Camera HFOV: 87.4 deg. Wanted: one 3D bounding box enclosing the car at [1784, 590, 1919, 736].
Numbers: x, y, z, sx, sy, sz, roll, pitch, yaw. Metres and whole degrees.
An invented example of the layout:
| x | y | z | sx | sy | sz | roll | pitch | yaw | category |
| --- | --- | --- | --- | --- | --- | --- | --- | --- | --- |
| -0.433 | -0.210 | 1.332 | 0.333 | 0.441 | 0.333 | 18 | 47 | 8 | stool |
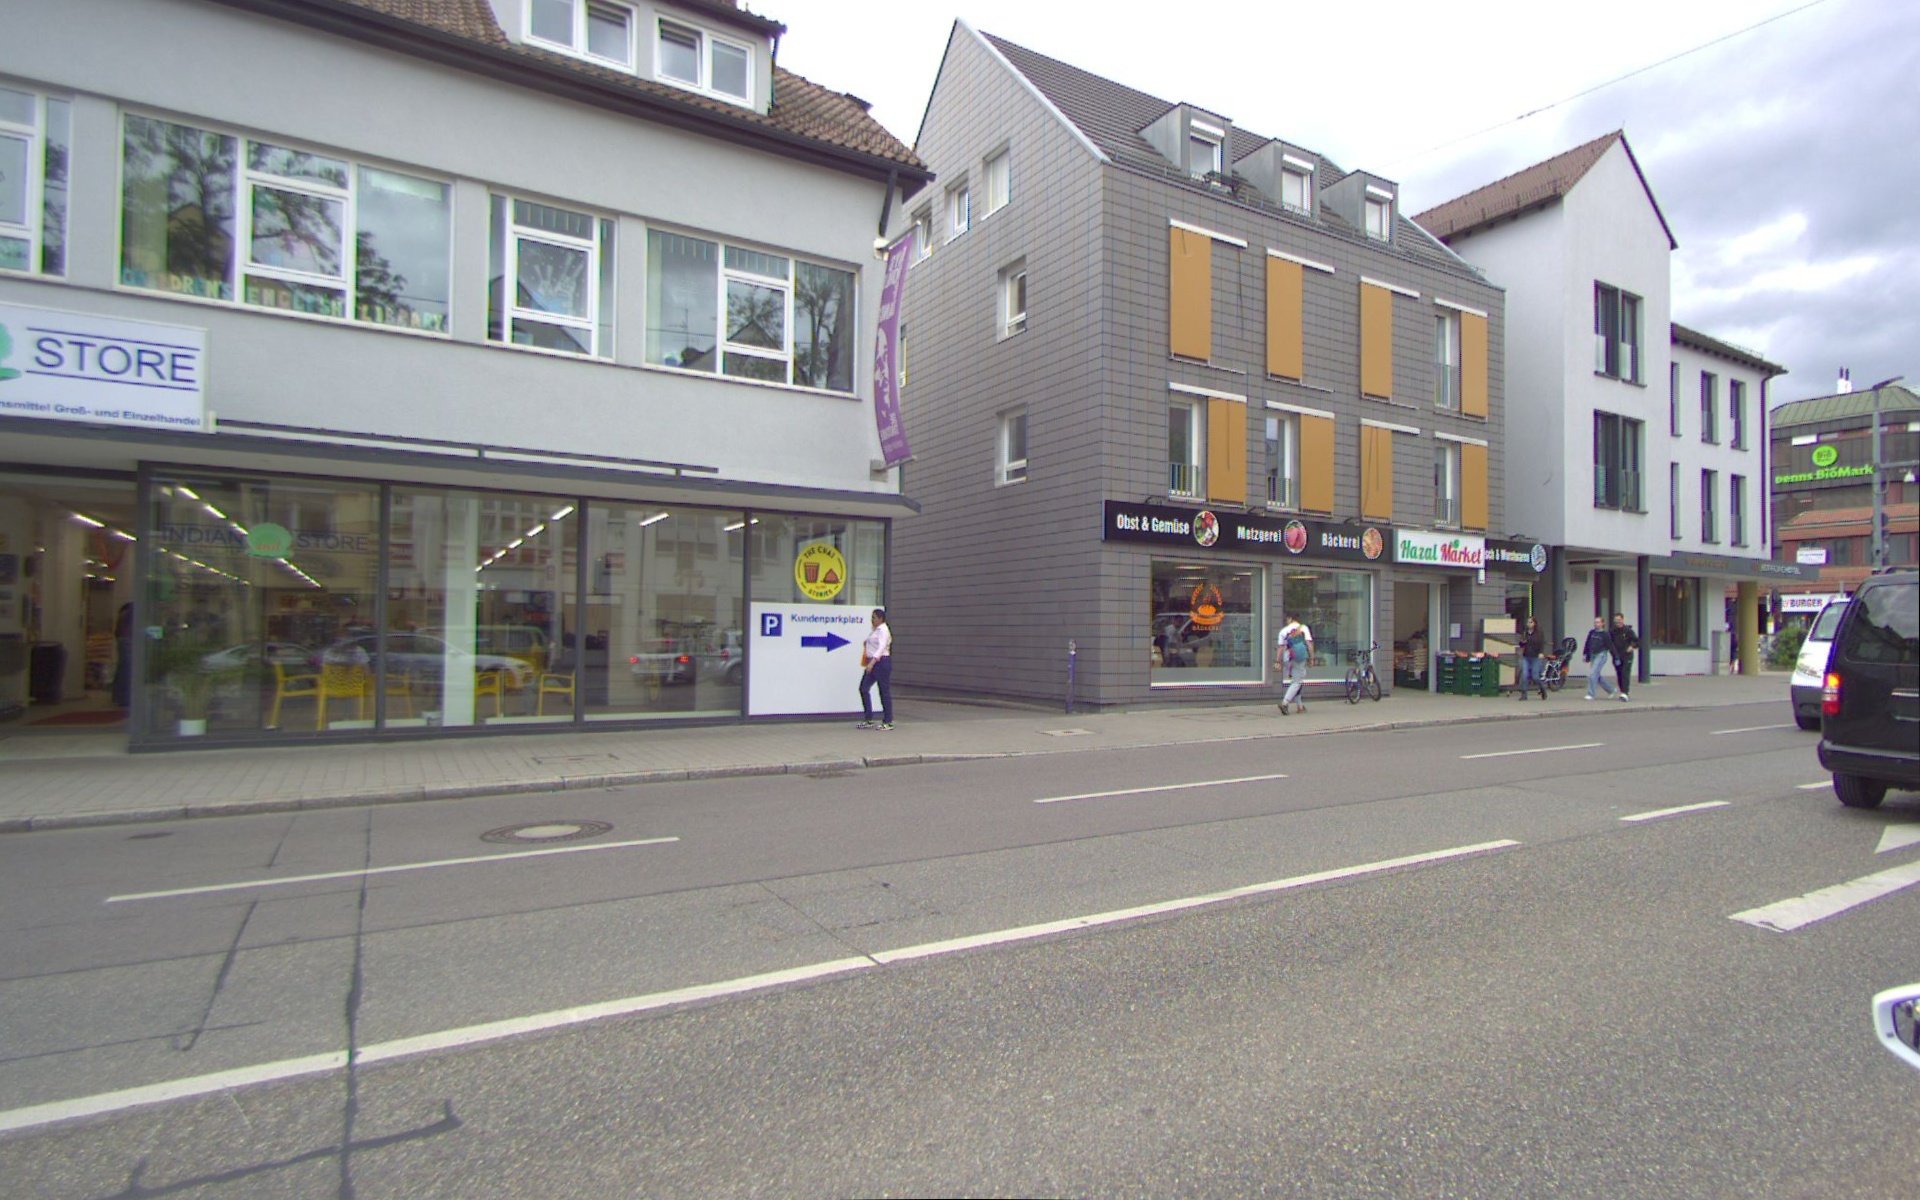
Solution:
| x | y | z | sx | sy | sz | roll | pitch | yaw | category |
| --- | --- | --- | --- | --- | --- | --- | --- | --- | --- |
| 14.354 | 0.884 | 14.952 | 5.108 | 1.913 | 1.980 | 1 | -3 | -36 | car |

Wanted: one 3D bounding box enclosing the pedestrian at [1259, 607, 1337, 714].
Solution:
| x | y | z | sx | sy | sz | roll | pitch | yaw | category |
| --- | --- | --- | --- | --- | --- | --- | --- | --- | --- |
| 5.700 | 1.000 | 16.950 | 0.969 | 1.728 | 0.750 | 1 | 2 | -30 | pedestrian |

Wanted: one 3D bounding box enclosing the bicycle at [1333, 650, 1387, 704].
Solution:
| x | y | z | sx | sy | sz | roll | pitch | yaw | category |
| --- | --- | --- | --- | --- | --- | --- | --- | --- | --- |
| 7.626 | 1.445 | 19.137 | 1.472 | 0.966 | 0.323 | 2 | -2 | -42 | bicycle |

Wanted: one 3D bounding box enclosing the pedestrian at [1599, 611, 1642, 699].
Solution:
| x | y | z | sx | sy | sz | roll | pitch | yaw | category |
| --- | --- | --- | --- | --- | --- | --- | --- | --- | --- |
| 13.805 | 1.145 | 20.996 | 0.641 | 1.799 | 0.564 | 1 | -1 | -37 | pedestrian |

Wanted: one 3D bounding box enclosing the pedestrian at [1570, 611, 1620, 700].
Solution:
| x | y | z | sx | sy | sz | roll | pitch | yaw | category |
| --- | --- | --- | --- | --- | --- | --- | --- | --- | --- |
| 13.149 | 1.133 | 20.812 | 0.642 | 1.814 | 0.678 | 1 | -1 | -33 | pedestrian |

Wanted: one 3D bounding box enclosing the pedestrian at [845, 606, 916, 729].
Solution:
| x | y | z | sx | sy | sz | roll | pitch | yaw | category |
| --- | --- | --- | --- | --- | --- | --- | --- | --- | --- |
| -1.097 | 0.901 | 13.797 | 0.744 | 1.631 | 0.725 | 1 | -1 | -30 | pedestrian |

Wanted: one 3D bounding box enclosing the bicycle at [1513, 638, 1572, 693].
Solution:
| x | y | z | sx | sy | sz | roll | pitch | yaw | category |
| --- | --- | --- | --- | --- | --- | --- | --- | --- | --- |
| 13.286 | 1.465 | 22.893 | 1.807 | 1.202 | 0.384 | 1 | -2 | -34 | bicycle |

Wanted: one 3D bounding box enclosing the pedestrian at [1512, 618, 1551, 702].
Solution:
| x | y | z | sx | sy | sz | roll | pitch | yaw | category |
| --- | --- | --- | --- | --- | --- | --- | --- | --- | --- |
| 11.616 | 1.196 | 20.417 | 0.643 | 1.672 | 0.557 | 0 | -1 | 36 | pedestrian |

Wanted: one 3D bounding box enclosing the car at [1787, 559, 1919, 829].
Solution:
| x | y | z | sx | sy | sz | roll | pitch | yaw | category |
| --- | --- | --- | --- | --- | --- | --- | --- | --- | --- |
| 8.714 | 0.694 | 8.049 | 4.579 | 1.880 | 1.736 | 1 | 0 | -30 | car |
